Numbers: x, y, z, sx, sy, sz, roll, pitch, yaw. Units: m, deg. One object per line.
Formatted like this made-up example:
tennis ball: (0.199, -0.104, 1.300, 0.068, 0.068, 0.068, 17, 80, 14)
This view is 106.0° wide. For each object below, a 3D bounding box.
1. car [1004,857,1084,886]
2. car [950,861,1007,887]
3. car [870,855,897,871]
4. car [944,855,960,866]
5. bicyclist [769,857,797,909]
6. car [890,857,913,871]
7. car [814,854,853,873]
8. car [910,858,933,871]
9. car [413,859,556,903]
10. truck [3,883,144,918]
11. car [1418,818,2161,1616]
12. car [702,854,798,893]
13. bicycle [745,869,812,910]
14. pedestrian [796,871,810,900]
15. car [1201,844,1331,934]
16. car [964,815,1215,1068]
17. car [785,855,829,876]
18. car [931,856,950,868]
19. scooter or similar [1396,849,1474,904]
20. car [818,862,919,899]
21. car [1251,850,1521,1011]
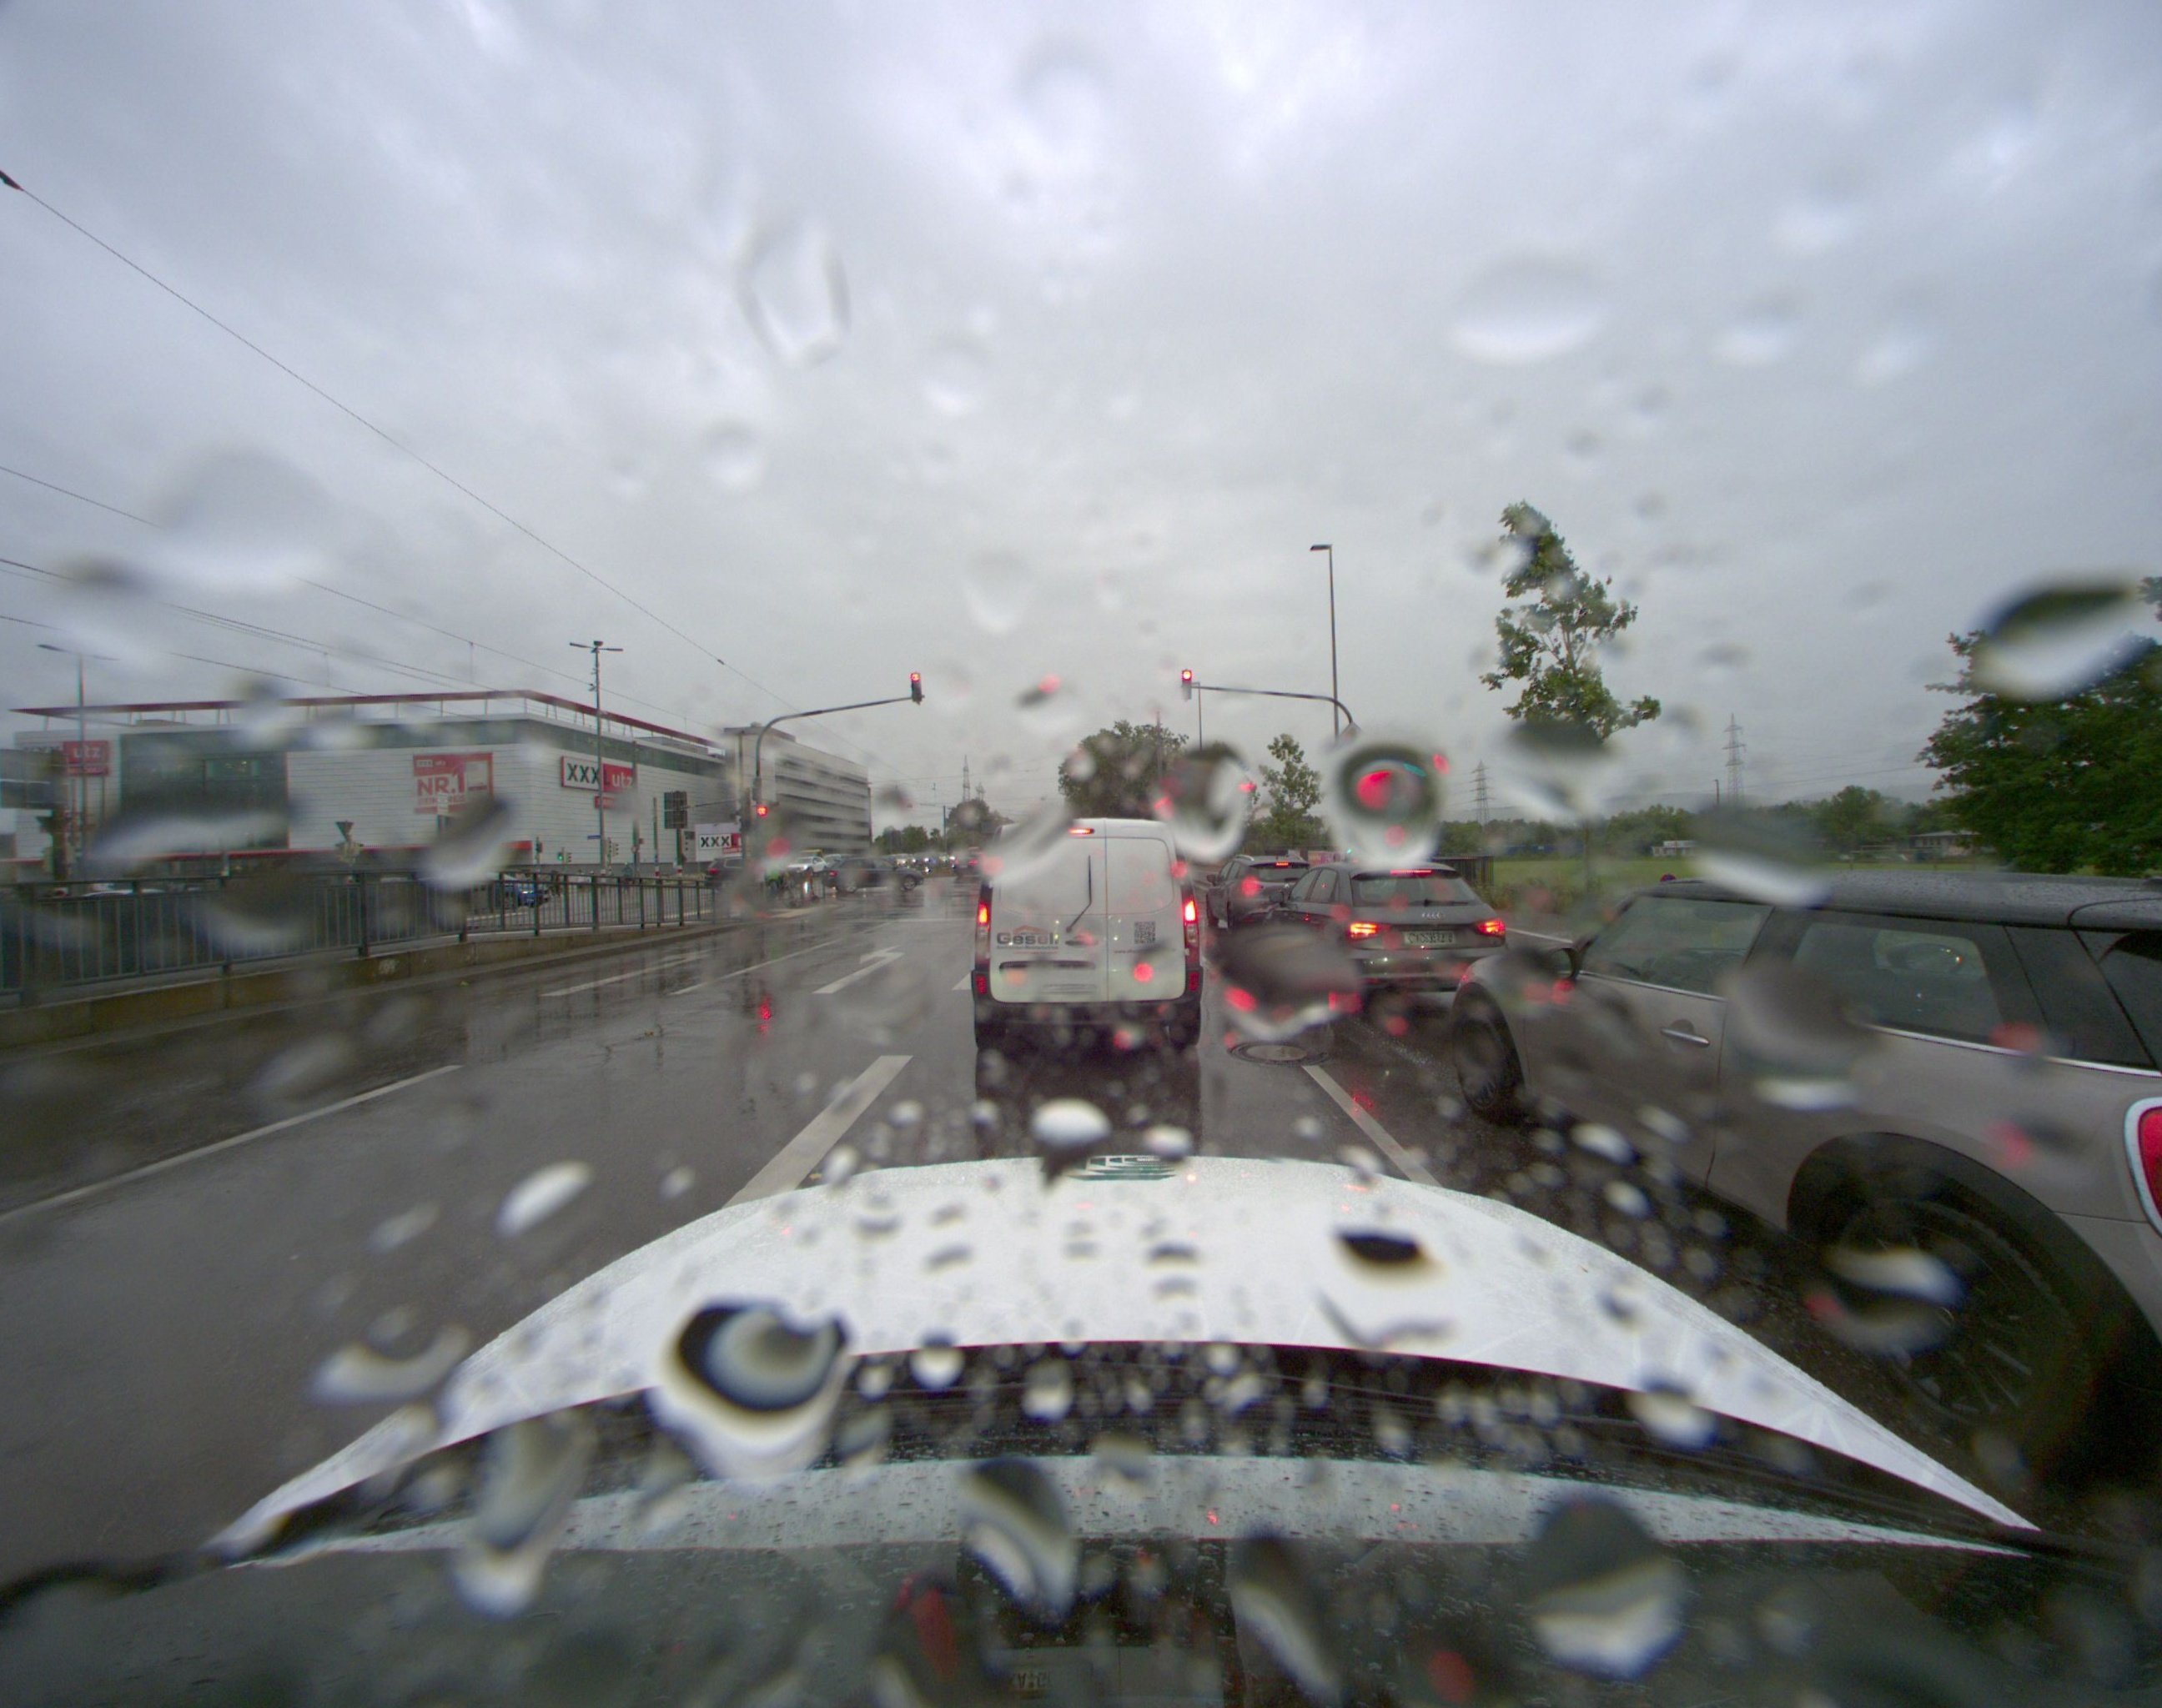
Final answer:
car: (-1.886, 0.921, 42.343, 3.943, 1.398, 1.518, 2, 0, -39)
car: (-5.922, 1.142, 47.500, 1.630, 1.398, 3.473, 2, 0, 25)
car: (-18.867, 0.877, 78.038, 1.554, 1.426, 3.570, 1, -1, 2)
car: (-17.892, 0.907, 113.414, 1.554, 1.426, 3.570, 1, -1, 2)
bicyclist: (-8.703, 0.831, 23.817, 0.608, 1.491, 0.593, 0, -1, -39)
car: (-18.599, 1.016, 84.522, 1.554, 1.426, 3.570, 1, -1, 2)
car: (-19.328, 0.778, 63.723, 1.704, 1.426, 3.810, 1, -1, 2)
car: (-17.965, 1.223, 91.821, 1.704, 1.426, 3.810, 1, -1, 2)
car: (-21.398, 0.964, 29.363, 3.734, 1.507, 1.643, 1, -1, -13)
truck: (-60.823, 2.795, 49.217, 5.859, 1.942, 2.012, 1, -1, 0)
car: (2.964, 0.709, 3.281, 1.696, 1.508, 3.881, 1, 0, 2)
car: (-15.102, 0.900, 37.187, 3.809, 1.674, 1.690, 2, 0, -32)
bicycle: (-8.804, 1.010, 23.719, 1.768, 1.137, 0.514, 0, -1, -41)
pedestrian: (-8.825, 0.994, 25.876, 0.314, 0.897, 0.380, 1, 0, -1)
car: (3.384, 0.596, 15.602, 1.678, 1.508, 3.921, 0, 0, 1)
car: (0.010, 0.583, 7.808, 1.749, 1.750, 4.166, -1, 1, -2)
car: (-19.425, 0.816, 57.814, 1.704, 1.426, 3.810, 1, -1, 2)
car: (-17.575, 1.039, 101.835, 1.554, 1.426, 3.570, 1, -1, 2)
scooter or similar: (8.524, 0.503, 19.765, 0.687, 1.211, 3.022, -2, 0, 3)
car: (-8.876, 1.113, 34.123, 3.808, 1.398, 1.521, 2, 0, -30)
car: (3.085, 0.714, 9.041, 1.592, 1.366, 3.629, -2, -1, 0)
